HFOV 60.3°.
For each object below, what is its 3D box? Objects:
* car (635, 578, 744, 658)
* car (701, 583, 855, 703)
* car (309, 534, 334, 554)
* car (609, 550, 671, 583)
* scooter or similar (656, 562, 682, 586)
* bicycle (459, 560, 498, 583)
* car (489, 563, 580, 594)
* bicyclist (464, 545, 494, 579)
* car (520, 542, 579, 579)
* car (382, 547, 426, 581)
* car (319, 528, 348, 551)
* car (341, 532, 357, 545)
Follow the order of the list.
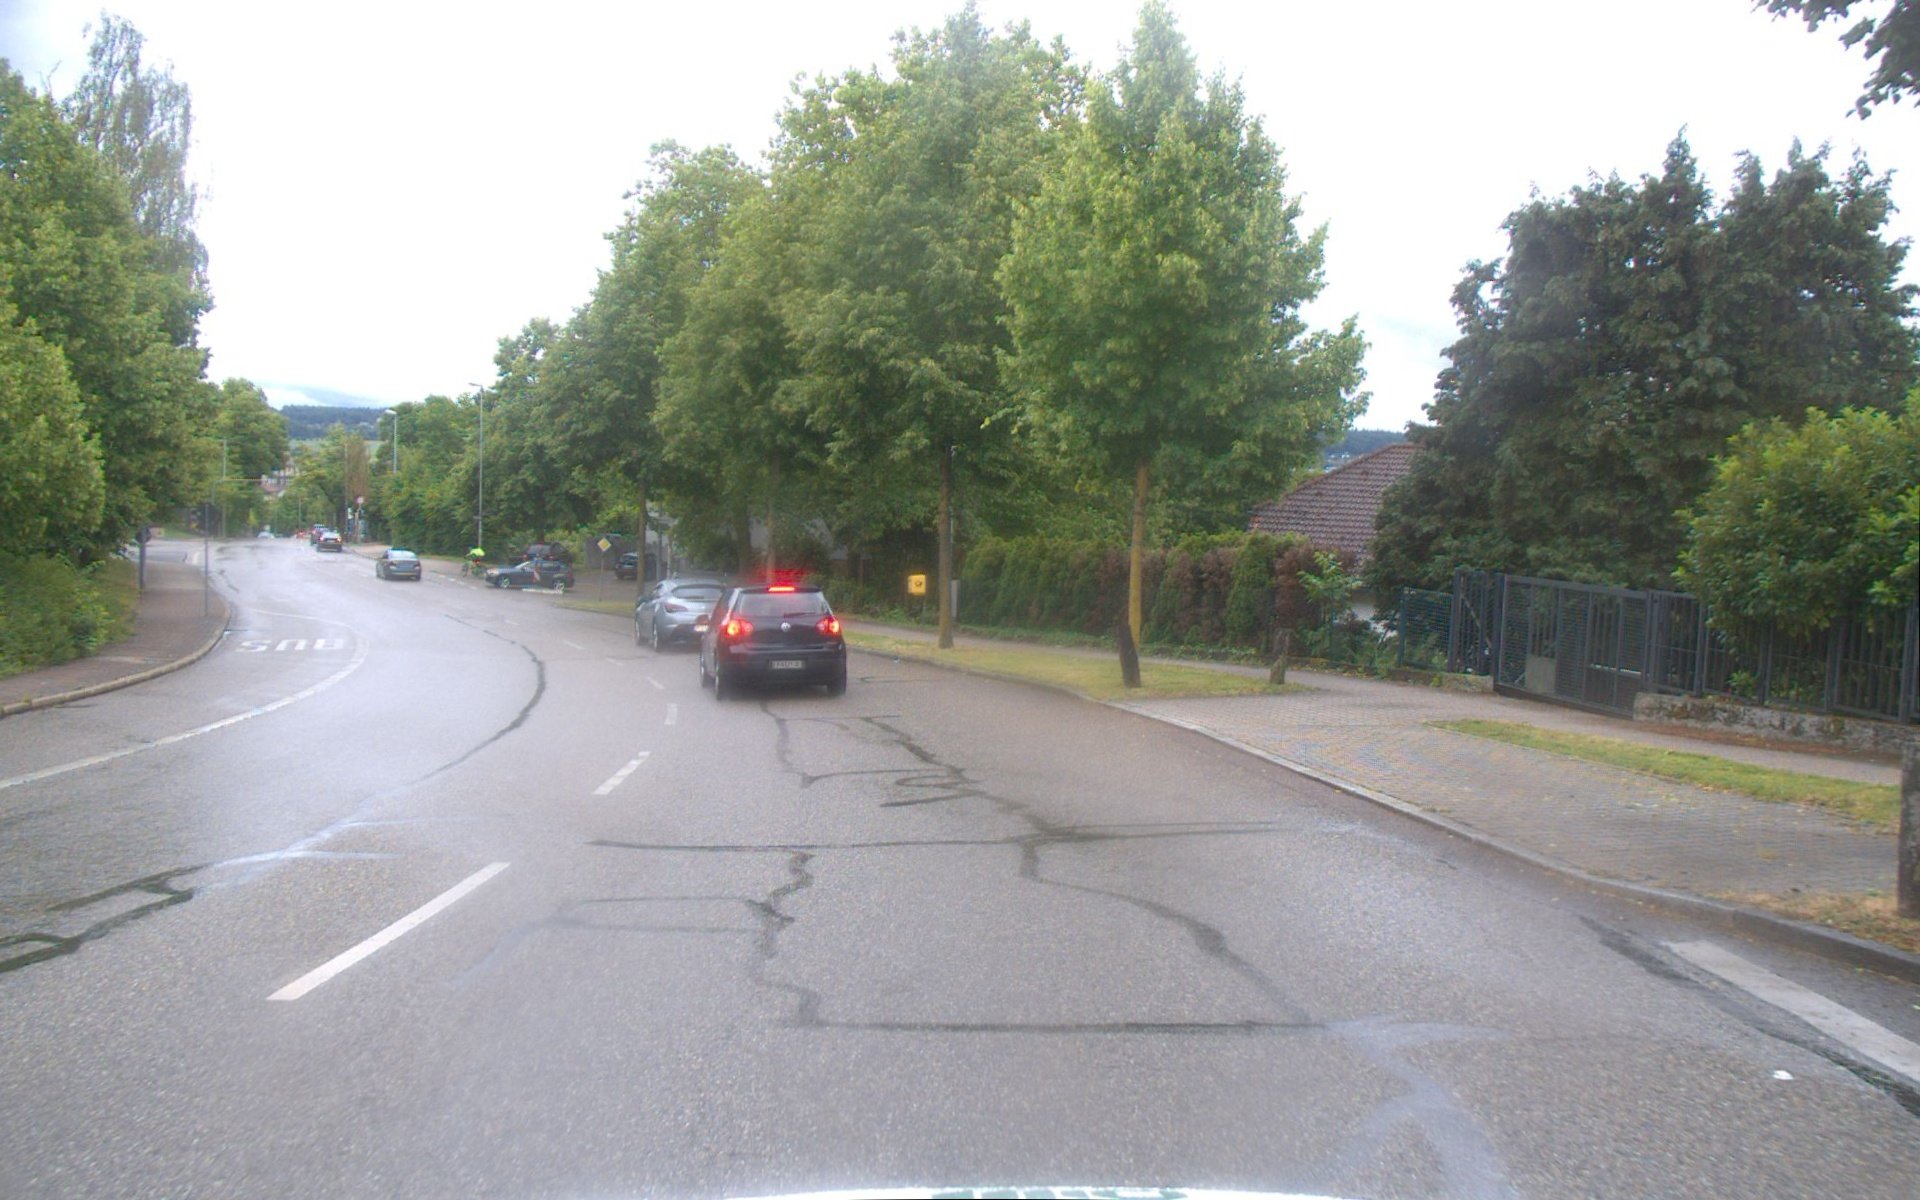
[{"bbox_3d":[-5.749,0.338,34.833,1.727,1.489,3.981,0,2,-17],"label":"car"},{"bbox_3d":[-2.595,0.529,22.846,1.691,1.489,3.988,1,0,-12],"label":"car"},{"bbox_3d":[-52.157,-4.586,135.030,1.699,1.489,3.972,4,1,-23],"label":"car"},{"bbox_3d":[-17.803,-1.886,92.149,1.714,1.494,4.572,4,5,11],"label":"car"},{"bbox_3d":[-15.944,-1.412,90.673,1.322,1.307,0.556,-1,2,-32],"label":"scooter or similar"},{"bbox_3d":[-25.316,-1.491,86.958,1.992,1.175,0.853,1,1,29],"label":"bicycle"},{"bbox_3d":[-20.852,-1.049,81.054,4.073,1.408,1.714,1,0,-25],"label":"car"},{"bbox_3d":[-25.262,-1.981,86.920,1.257,1.786,0.853,1,1,28],"label":"bicyclist"},{"bbox_3d":[-22.963,-2.251,92.694,1.907,1.718,4.908,3,5,2],"label":"car"},{"bbox_3d":[-27.883,-1.811,82.835,1.699,1.489,3.972,4,1,-23],"label":"car"},{"bbox_3d":[-45.490,-4.426,120.045,1.699,1.489,3.972,4,1,-23],"label":"car"},{"bbox_3d":[-71.728,-7.235,194.261,1.697,1.489,3.975,-1,3,-21],"label":"car"}]
